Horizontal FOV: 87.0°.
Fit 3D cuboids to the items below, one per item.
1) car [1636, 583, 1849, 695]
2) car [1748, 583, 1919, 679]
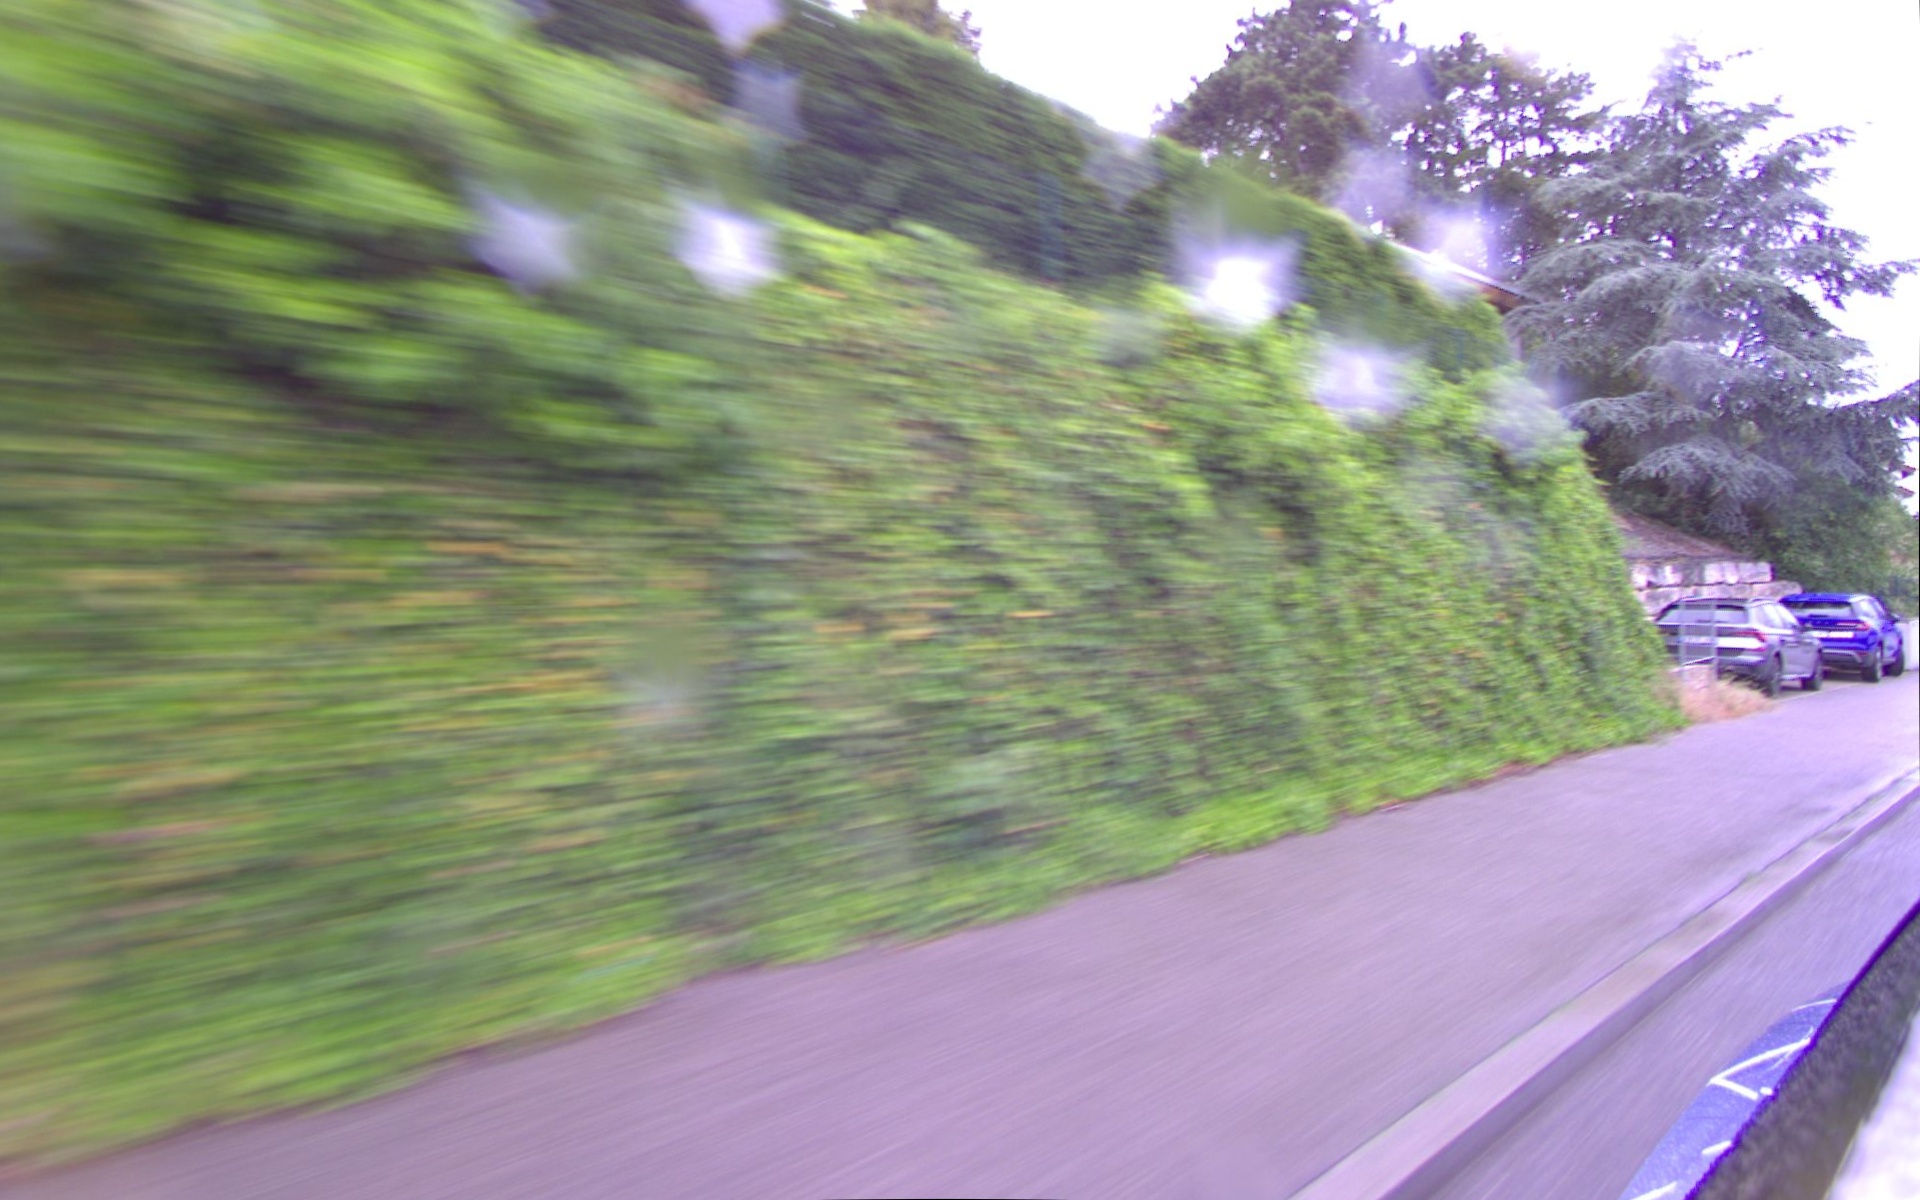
[{"bbox_3d":[12.877,0.554,16.584,3.937,1.583,1.815,0,2,-38],"label":"car"},{"bbox_3d":[17.719,0.544,20.425,4.464,1.691,1.998,0,2,-41],"label":"car"}]
